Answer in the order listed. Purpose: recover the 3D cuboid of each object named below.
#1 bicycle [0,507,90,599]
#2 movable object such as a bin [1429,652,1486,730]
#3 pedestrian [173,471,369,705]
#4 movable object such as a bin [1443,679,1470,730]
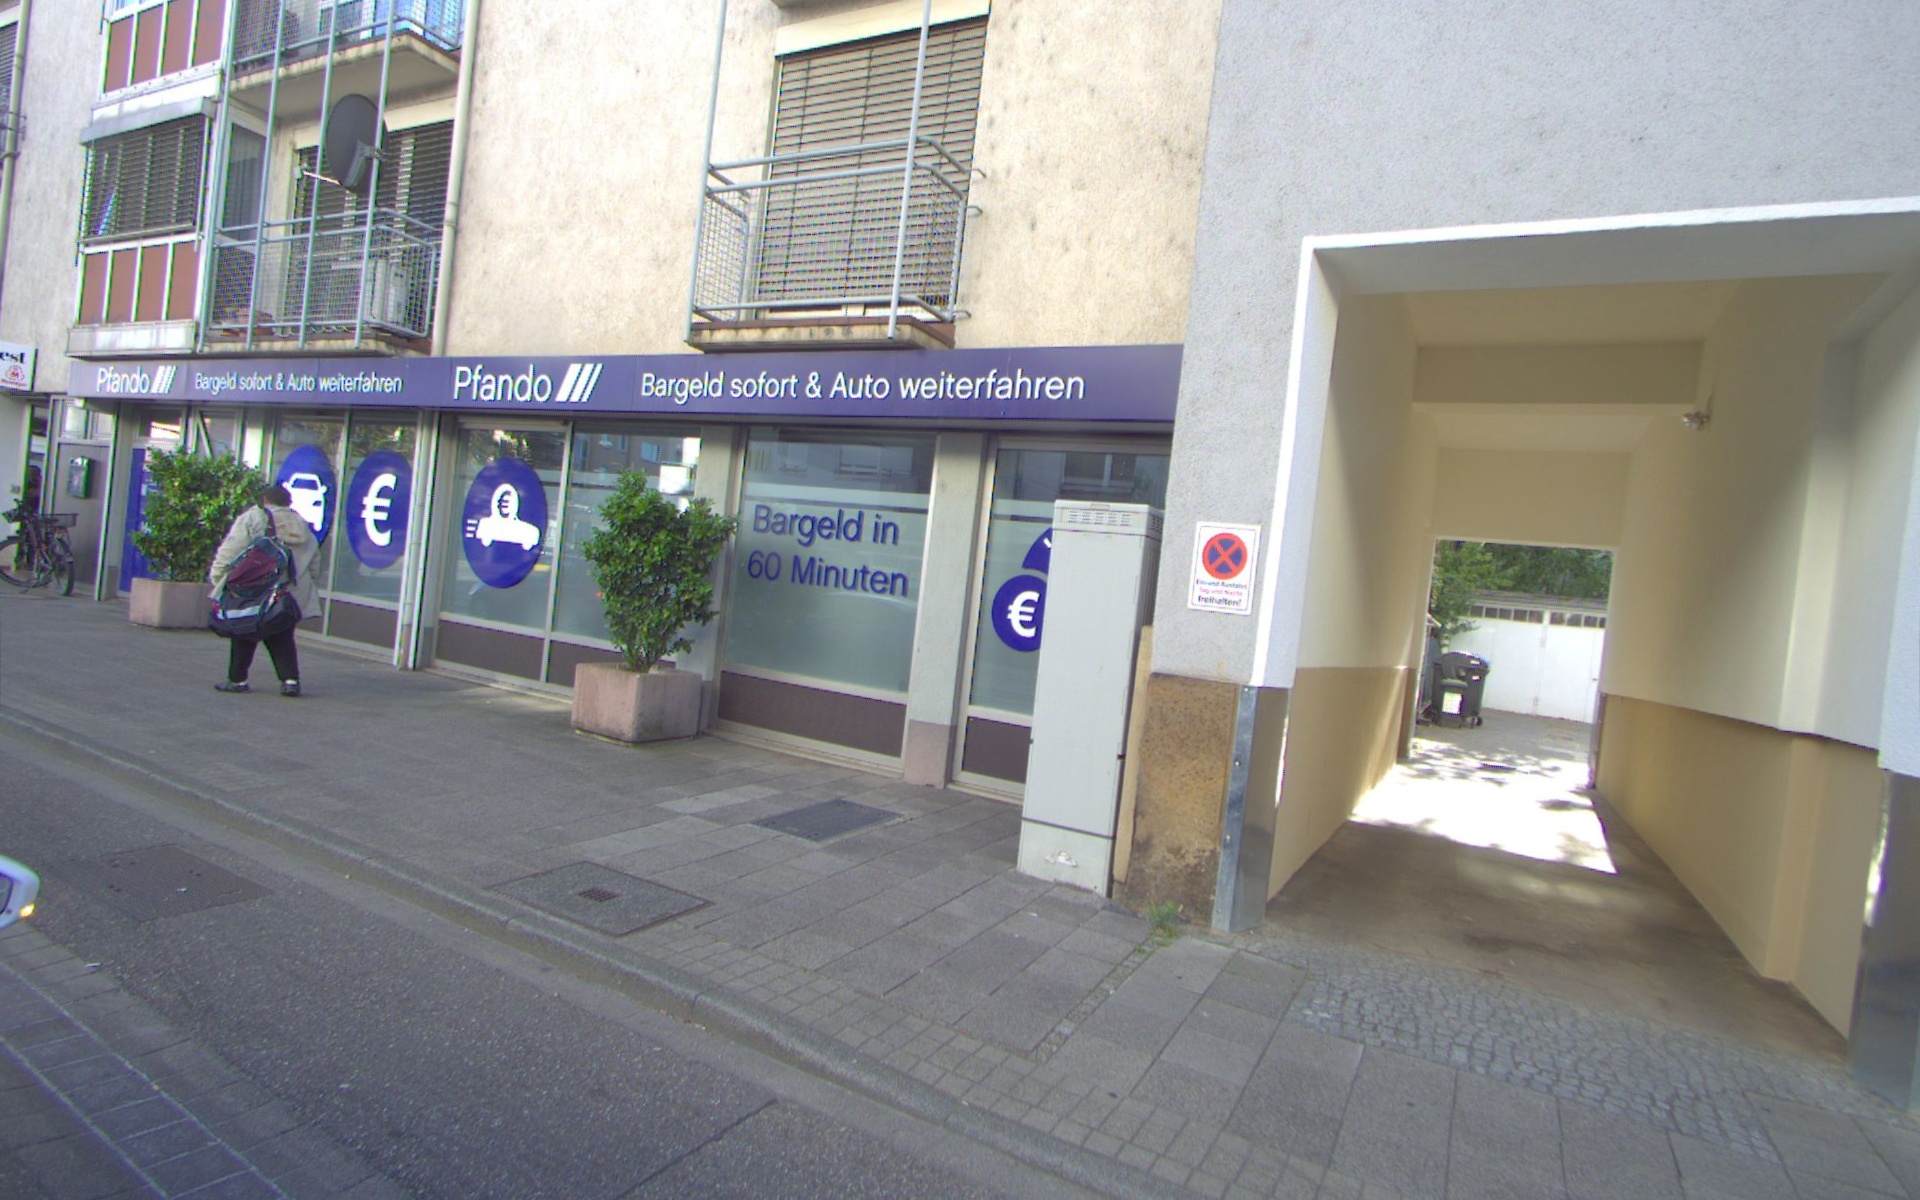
[{"bbox_3d":[-11.849,-0.618,12.853,1.678,1.010,0.543,6,-1,32],"label":"bicycle"},{"bbox_3d":[9.941,1.792,20.093,0.873,1.411,0.758,7,2,28],"label":"movable object such as a bin"},{"bbox_3d":[-5.149,-0.076,7.545,0.738,1.611,0.827,6,-1,31],"label":"pedestrian"},{"bbox_3d":[9.603,2.018,19.464,0.365,0.920,0.420,7,2,28],"label":"movable object such as a bin"}]
